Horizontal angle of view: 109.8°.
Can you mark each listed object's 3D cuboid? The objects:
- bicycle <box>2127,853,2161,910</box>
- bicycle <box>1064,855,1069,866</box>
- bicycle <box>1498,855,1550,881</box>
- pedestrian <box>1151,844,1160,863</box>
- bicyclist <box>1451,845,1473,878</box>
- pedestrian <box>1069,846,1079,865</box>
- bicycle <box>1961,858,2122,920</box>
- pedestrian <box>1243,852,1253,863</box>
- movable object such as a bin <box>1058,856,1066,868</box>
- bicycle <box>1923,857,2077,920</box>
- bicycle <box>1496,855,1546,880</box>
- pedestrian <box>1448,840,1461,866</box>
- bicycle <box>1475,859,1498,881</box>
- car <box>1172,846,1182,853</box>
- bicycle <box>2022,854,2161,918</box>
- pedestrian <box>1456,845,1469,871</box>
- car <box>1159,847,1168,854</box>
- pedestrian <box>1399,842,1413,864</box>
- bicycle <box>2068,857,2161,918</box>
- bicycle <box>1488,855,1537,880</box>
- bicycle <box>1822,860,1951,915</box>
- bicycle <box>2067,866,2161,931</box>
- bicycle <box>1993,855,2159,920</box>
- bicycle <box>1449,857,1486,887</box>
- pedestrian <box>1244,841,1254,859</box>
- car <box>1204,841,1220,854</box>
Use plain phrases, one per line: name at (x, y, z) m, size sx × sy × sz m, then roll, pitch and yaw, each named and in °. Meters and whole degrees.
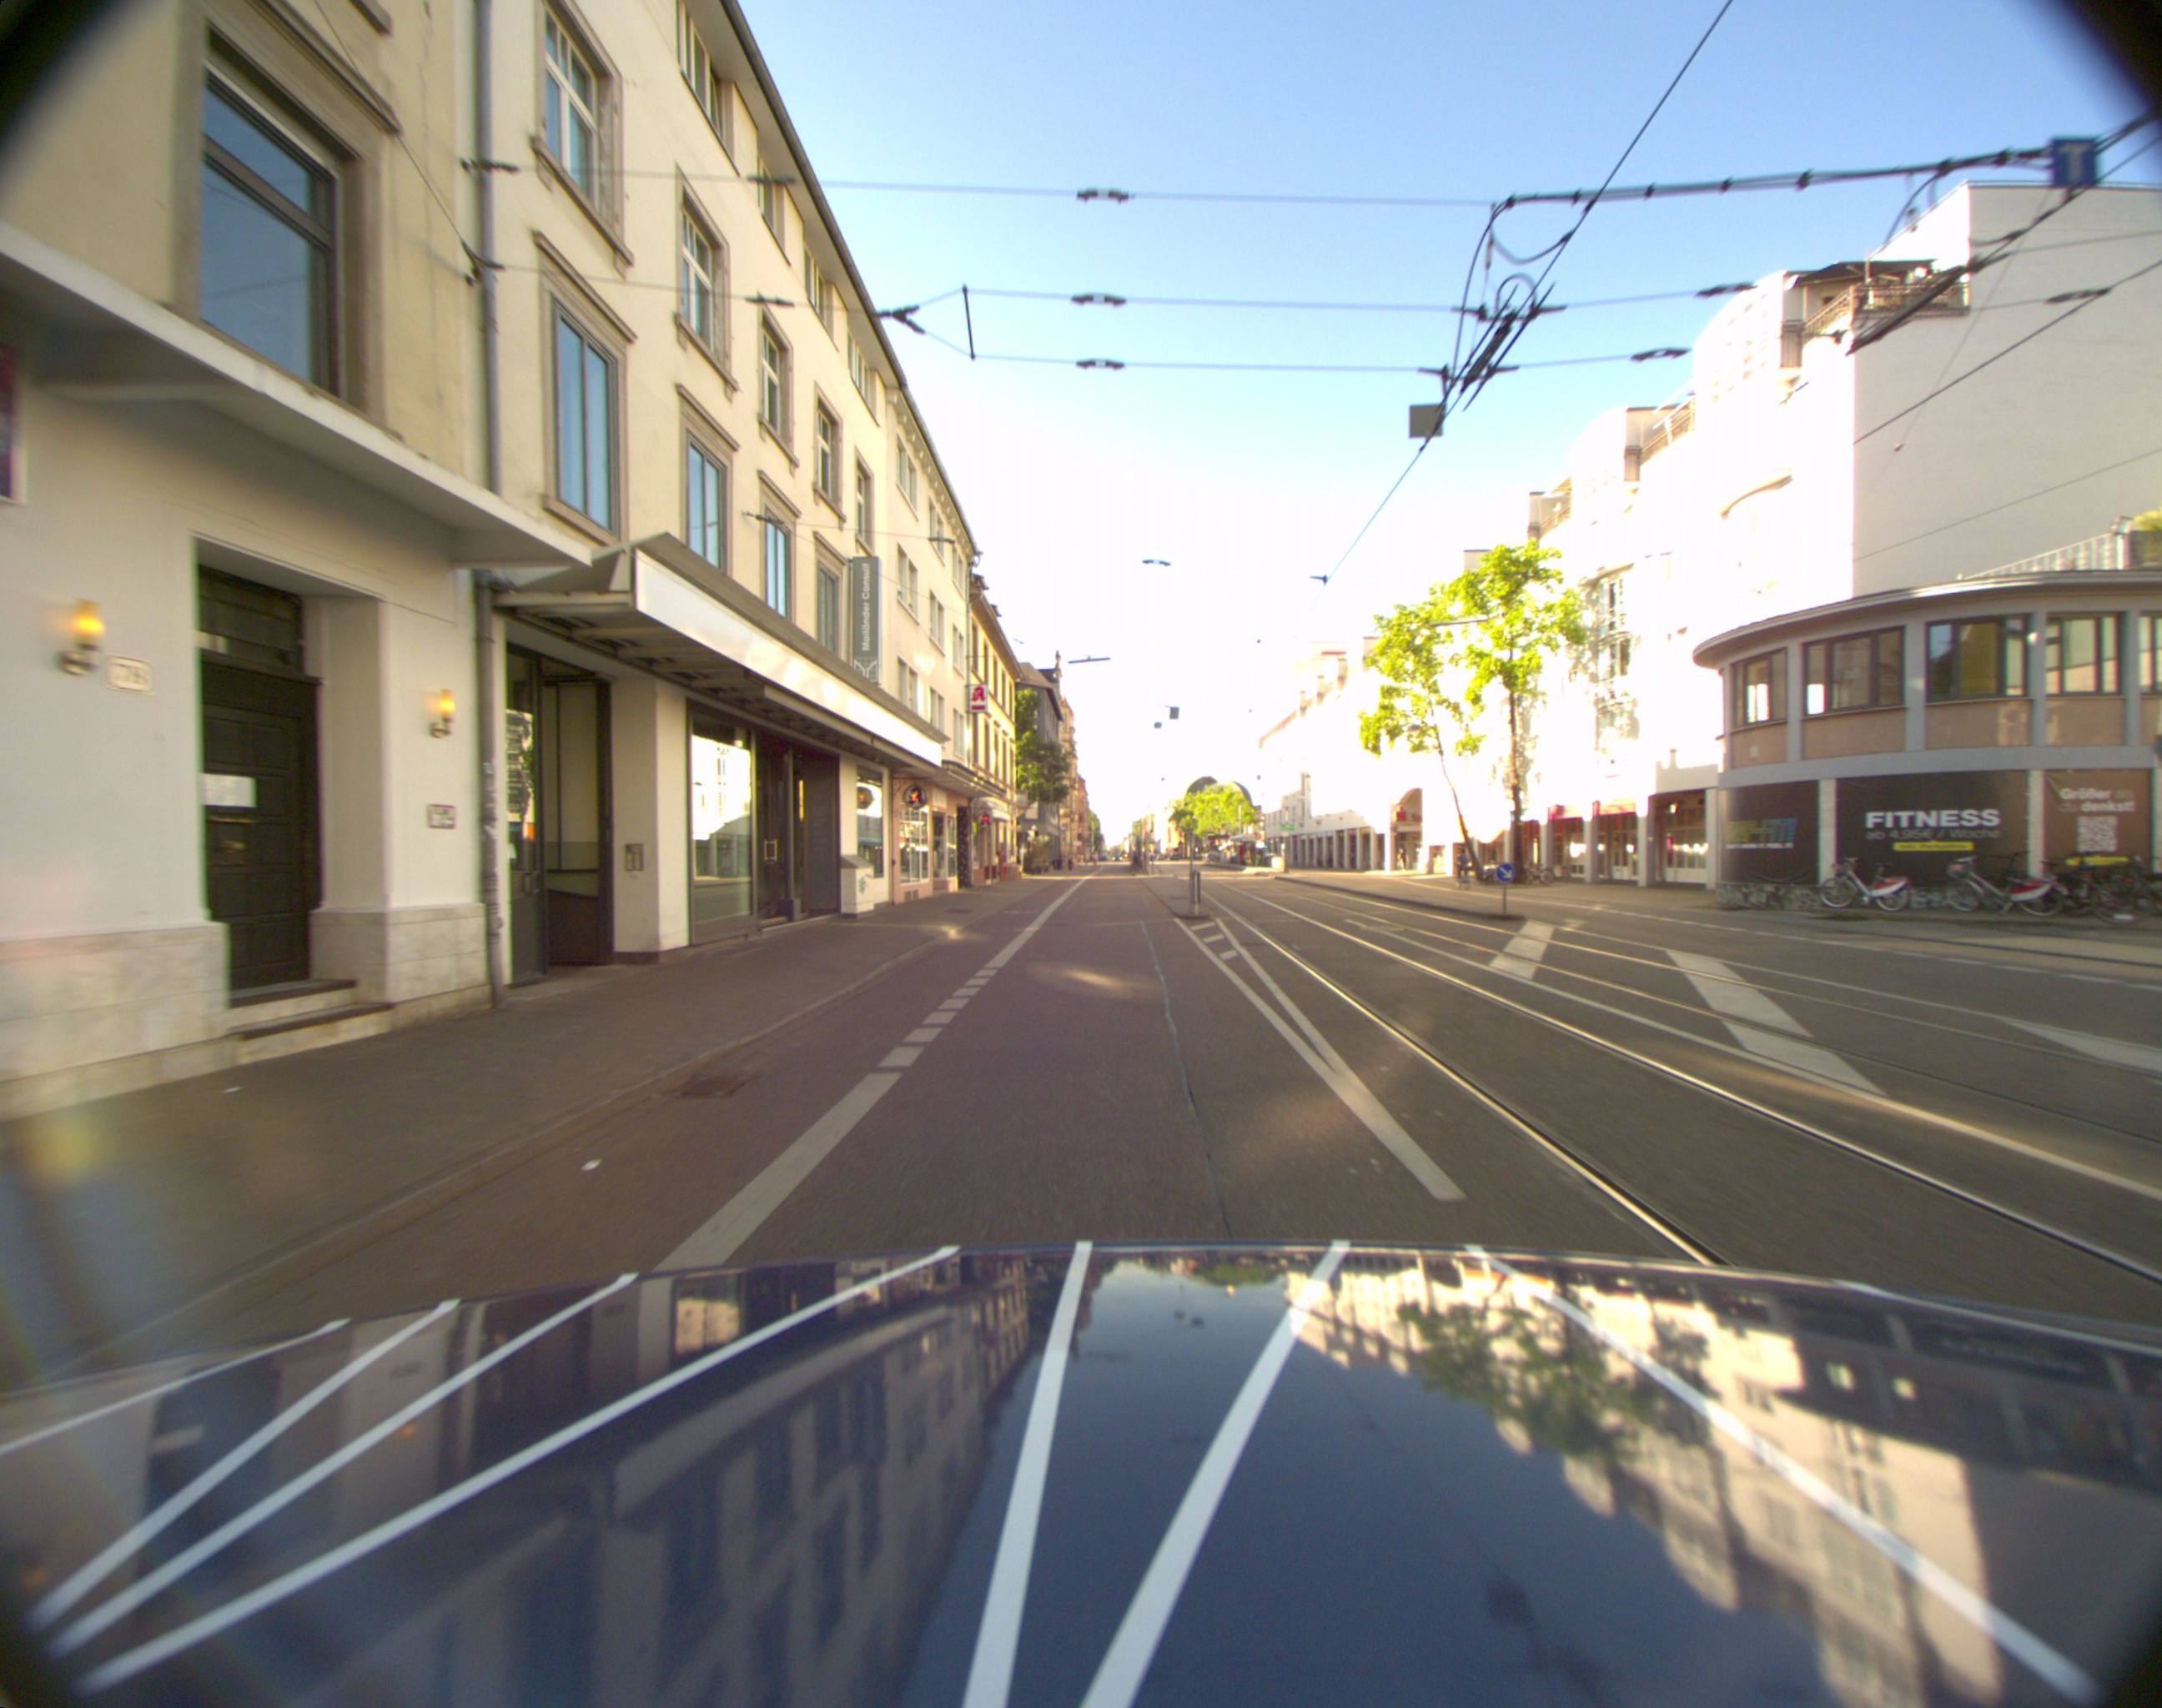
bicycle at (20.632, 0.520, 13.827) m, size 0.464 × 1.071 × 1.878 m, roll -1°, pitch 1°, yaw -6°
bicycle at (-1.458, 0.639, 75.380) m, size 0.377 × 1.052 × 1.513 m, roll -1°, pitch 0°, yaw 3°
bicycle at (19.165, 0.609, 32.905) m, size 1.876 × 1.071 × 0.465 m, roll 0°, pitch 1°, yaw 11°
pedestrian at (6.478, -0.053, 66.234) m, size 0.716 × 1.635 × 0.400 m, roll -1°, pitch 1°, yaw 5°
bicyclist at (15.673, 0.312, 31.269) m, size 0.564 × 1.354 × 0.719 m, roll 0°, pitch 2°, yaw 2°
pedestrian at (-0.670, 0.150, 70.807) m, size 0.695 × 1.680 × 0.688 m, roll 6°, pitch 1°, yaw 3°
bicycle at (17.534, 0.607, 13.946) m, size 0.464 × 1.030 × 1.878 m, roll 0°, pitch 0°, yaw -5°
pedestrian at (15.602, 0.342, 70.975) m, size 0.794 × 0.982 × 0.747 m, roll -1°, pitch 1°, yaw 3°
movable object such as a bin at (-1.749, 0.745, 71.256) m, size 0.717 × 1.062 × 0.637 m, roll -1°, pitch 1°, yaw 2°
bicycle at (16.931, 0.598, 14.080) m, size 0.464 × 1.073 × 1.878 m, roll 0°, pitch 0°, yaw -5°
bicycle at (19.327, 0.607, 33.387) m, size 1.876 × 1.071 × 0.465 m, roll 0°, pitch 1°, yaw 11°
pedestrian at (23.242, -0.062, 47.338) m, size 0.563 × 1.635 × 0.523 m, roll -1°, pitch 1°, yaw 3°
bicycle at (18.093, 0.690, 33.929) m, size 0.470 × 0.927 × 1.755 m, roll -1°, pitch 1°, yaw 12°
car at (21.165, -1.000, 167.736) m, size 1.998 × 1.608 × 4.001 m, roll -1°, pitch 0°, yaw 3°
bicycle at (18.661, 0.550, 13.893) m, size 0.464 × 1.071 × 1.878 m, roll -1°, pitch 1°, yaw -5°
pedestrian at (23.821, 0.250, 47.453) m, size 0.563 × 1.635 × 0.523 m, roll -1°, pitch 1°, yaw 3°
car at (21.317, -0.964, 196.146) m, size 1.998 × 1.893 × 3.999 m, roll -1°, pitch 1°, yaw 0°
pedestrian at (24.631, -0.088, 57.550) m, size 0.747 × 1.635 × 0.731 m, roll -1°, pitch 1°, yaw 3°
bicycle at (19.499, 0.598, 13.836) m, size 0.464 × 1.071 × 1.878 m, roll -1°, pitch 1°, yaw -6°
bicycle at (19.514, 0.612, 34.397) m, size 1.876 × 1.071 × 0.465 m, roll 0°, pitch 1°, yaw 11°
bicycle at (16.283, 0.646, 15.430) m, size 0.525 × 1.030 × 1.878 m, roll 0°, pitch 0°, yaw -5°
bicycle at (17.485, 0.718, 12.284) m, size 1.874 × 1.030 × 0.426 m, roll 0°, pitch 1°, yaw 27°
bicycle at (18.052, 0.568, 13.867) m, size 0.464 × 1.081 × 1.878 m, roll -1°, pitch 1°, yaw -5°
bicycle at (15.864, 0.719, 31.197) m, size 0.565 × 1.117 × 2.004 m, roll -1°, pitch 1°, yaw 2°
pedestrian at (14.773, -0.355, 66.872) m, size 0.794 × 1.635 × 0.747 m, roll 0°, pitch 3°, yaw 3°
car at (21.355, -1.034, 123.805) m, size 1.884 × 2.001 × 4.001 m, roll -2°, pitch -1°, yaw 1°
